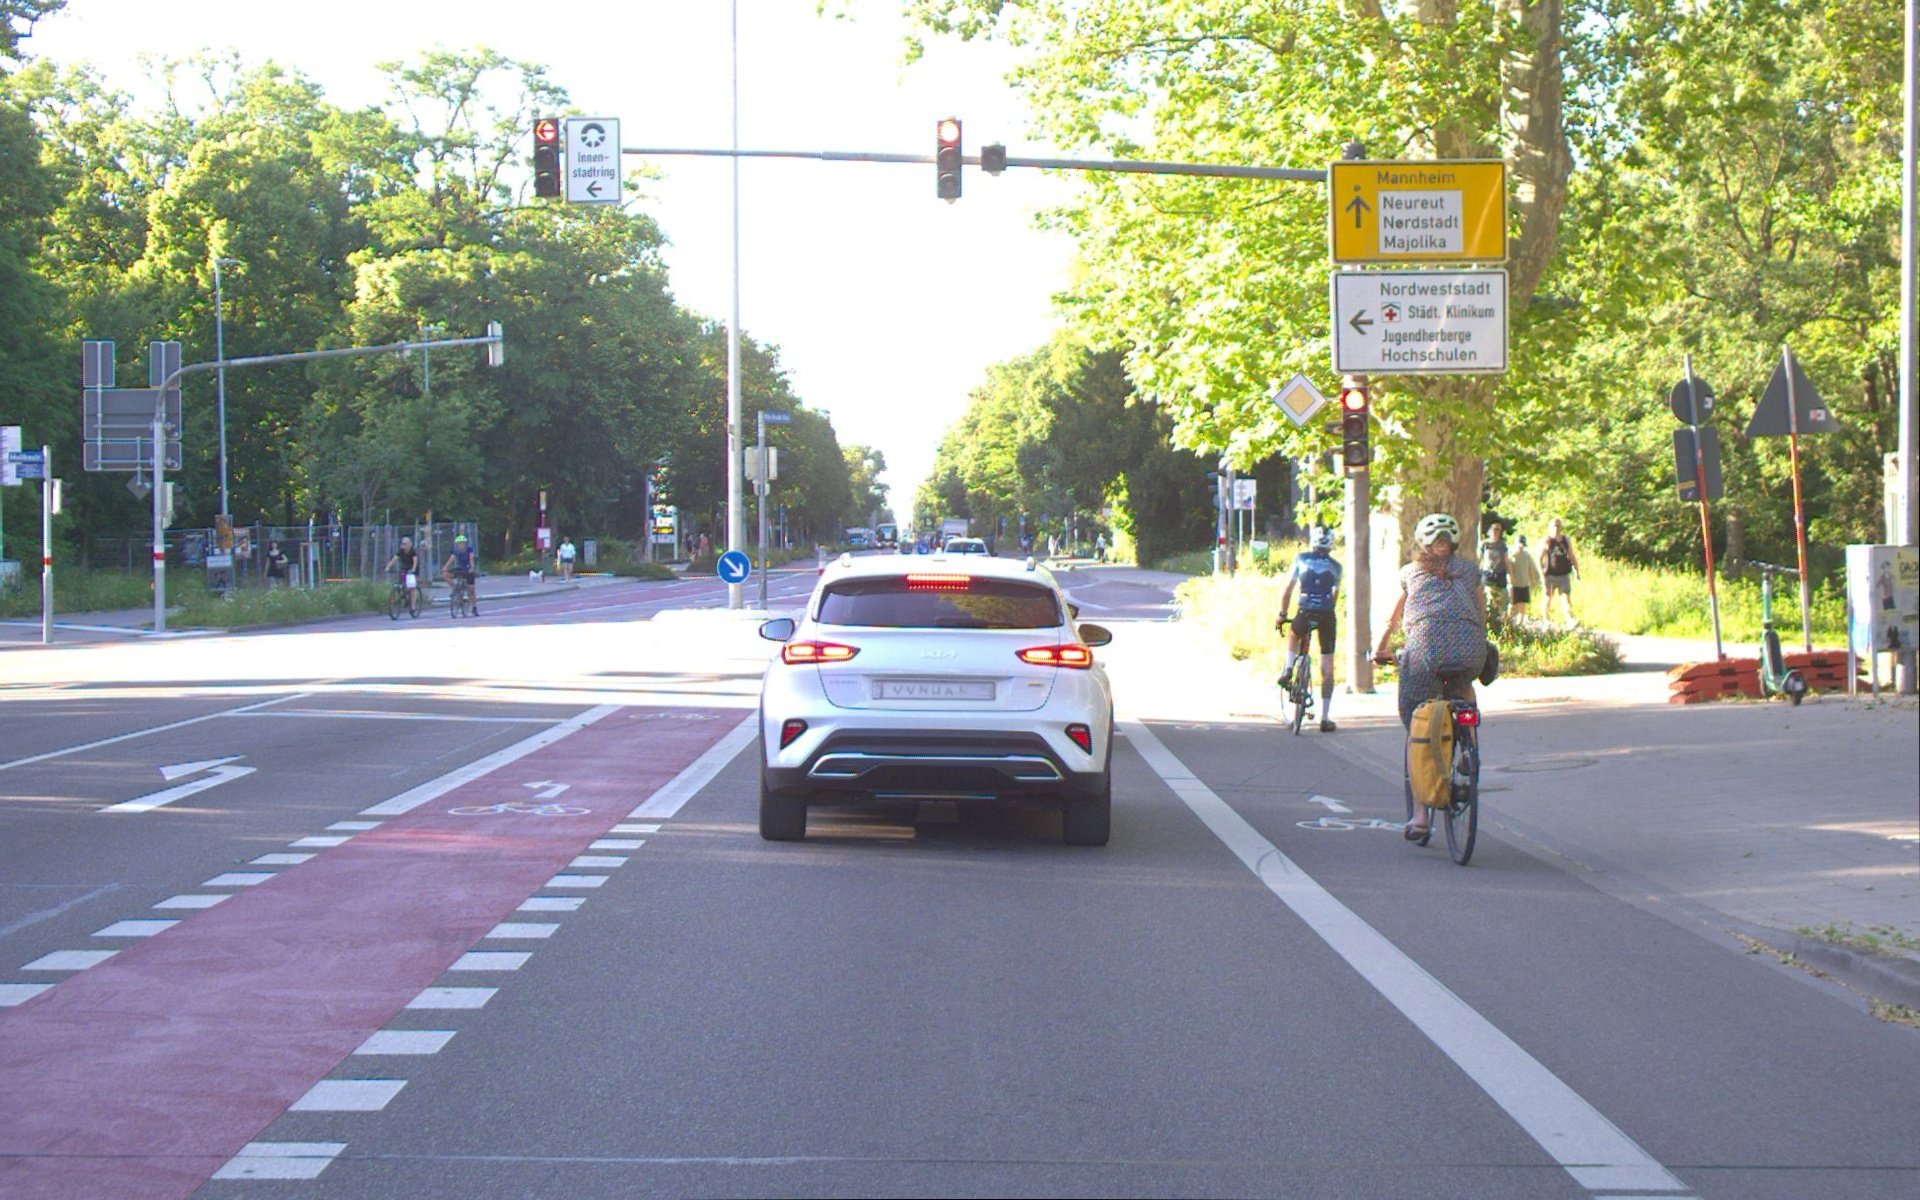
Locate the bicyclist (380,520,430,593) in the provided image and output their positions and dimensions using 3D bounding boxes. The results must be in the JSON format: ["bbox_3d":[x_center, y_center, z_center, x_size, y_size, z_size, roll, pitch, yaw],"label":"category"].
[{"bbox_3d":[-12.335,-0.971,76.461,0.875,1.601,0.977,-1,1,4],"label":"bicyclist"}]

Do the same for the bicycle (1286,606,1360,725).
[{"bbox_3d":[3.092,0.547,29.365,0.401,0.953,1.551,-3,1,-1],"label":"bicycle"}]

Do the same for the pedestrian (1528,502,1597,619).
[{"bbox_3d":[9.187,-0.605,52.467,0.817,1.765,0.832,-1,1,-6],"label":"pedestrian"}]

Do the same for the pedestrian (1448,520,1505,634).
[{"bbox_3d":[7.780,-0.356,51.777,0.689,1.693,0.644,-1,1,-5],"label":"pedestrian"}]

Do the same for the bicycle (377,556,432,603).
[{"bbox_3d":[-12.334,-0.472,76.383,0.579,0.985,2.714,-1,1,4],"label":"bicycle"}]

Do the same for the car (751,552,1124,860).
[{"bbox_3d":[-0.132,0.494,18.837,1.821,1.475,3.936,0,1,-1],"label":"car"}]

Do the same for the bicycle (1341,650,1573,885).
[{"bbox_3d":[2.464,0.799,17.340,0.758,1.009,2.570,1,1,-1],"label":"bicycle"}]

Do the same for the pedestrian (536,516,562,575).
[{"bbox_3d":[-14.138,-1.866,118.223,0.641,2.007,0.753,1,0,11],"label":"pedestrian"}]

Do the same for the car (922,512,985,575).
[{"bbox_3d":[-0.183,-1.860,113.350,1.993,2.007,4.000,-1,1,1],"label":"car"}]

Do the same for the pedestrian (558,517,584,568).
[{"bbox_3d":[-13.587,-2.003,120.187,0.785,1.779,0.751,1,0,1],"label":"pedestrian"}]

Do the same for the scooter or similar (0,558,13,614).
[{"bbox_3d":[-20.151,-0.290,69.499,0.712,1.120,1.917,1,1,34],"label":"scooter or similar"}]

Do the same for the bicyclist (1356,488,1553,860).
[{"bbox_3d":[2.477,0.350,17.335,0.753,1.789,1.165,2,1,-1],"label":"bicyclist"}]

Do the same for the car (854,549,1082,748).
[{"bbox_3d":[0.034,0.346,28.106,1.728,1.478,3.517,-1,1,-1],"label":"car"}]

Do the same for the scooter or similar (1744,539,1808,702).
[{"bbox_3d":[6.789,0.157,28.632,0.228,1.322,1.172,-1,1,-1],"label":"scooter or similar"}]

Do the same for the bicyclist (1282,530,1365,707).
[{"bbox_3d":[3.101,0.152,29.380,0.554,1.473,0.717,-3,0,0],"label":"bicyclist"}]

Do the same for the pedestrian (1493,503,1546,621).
[{"bbox_3d":[8.475,-0.580,52.079,0.615,1.765,0.647,-1,1,-6],"label":"pedestrian"}]

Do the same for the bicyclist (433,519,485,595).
[{"bbox_3d":[-10.778,-0.935,73.949,0.875,1.603,1.188,-1,1,3],"label":"bicyclist"}]

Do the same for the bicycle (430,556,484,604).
[{"bbox_3d":[-10.778,-0.436,73.770,0.663,0.985,2.504,-1,1,3],"label":"bicycle"}]
